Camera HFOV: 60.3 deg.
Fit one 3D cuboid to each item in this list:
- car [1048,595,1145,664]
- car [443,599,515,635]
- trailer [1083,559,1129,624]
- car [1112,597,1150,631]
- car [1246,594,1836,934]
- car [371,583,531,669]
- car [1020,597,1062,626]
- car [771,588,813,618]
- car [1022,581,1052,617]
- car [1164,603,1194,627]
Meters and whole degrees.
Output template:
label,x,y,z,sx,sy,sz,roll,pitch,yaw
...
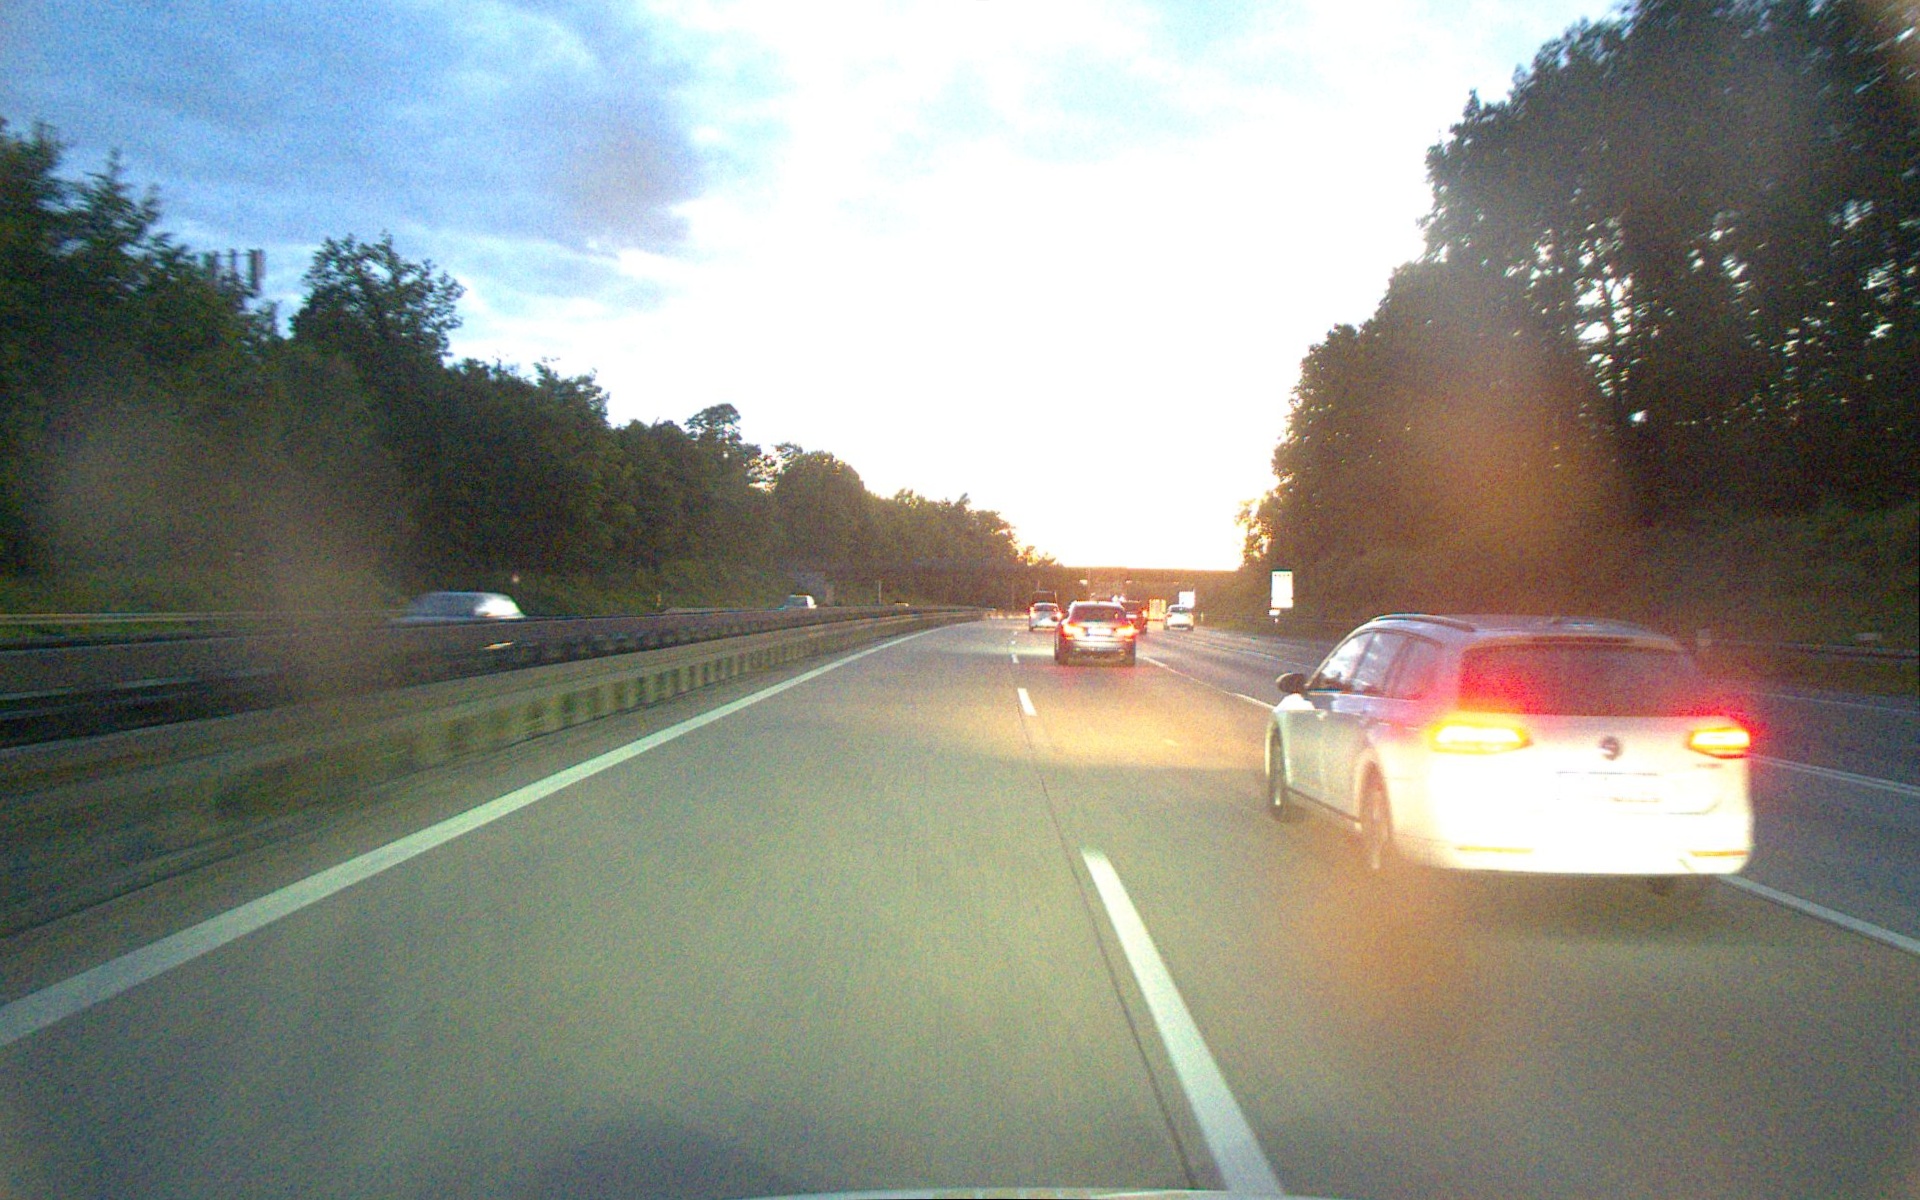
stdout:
label,x,y,z,sx,sy,sz,roll,pitch,yaw
car,3.280,0.667,40.573,1.870,1.564,5.230,1,0,-1
car,-21.912,0.758,75.451,1.812,1.523,4.596,1,0,2
trailer,10.238,-0.520,116.903,2.846,4.173,10.360,1,-2,4
car,8.854,0.731,85.658,1.862,1.672,5.055,1,-1,6
car,3.089,0.737,10.091,1.772,1.491,5.132,1,1,0
car,-10.319,0.485,33.906,1.953,1.628,4.820,1,0,-2
car,4.183,0.594,85.998,1.822,1.467,3.719,1,0,-2
car,-10.089,0.174,99.676,1.952,1.735,4.551,1,0,1
car,5.742,-0.035,123.218,2.120,2.461,5.565,1,-2,3
car,13.885,0.965,104.800,1.819,1.467,4.114,1,-1,8
